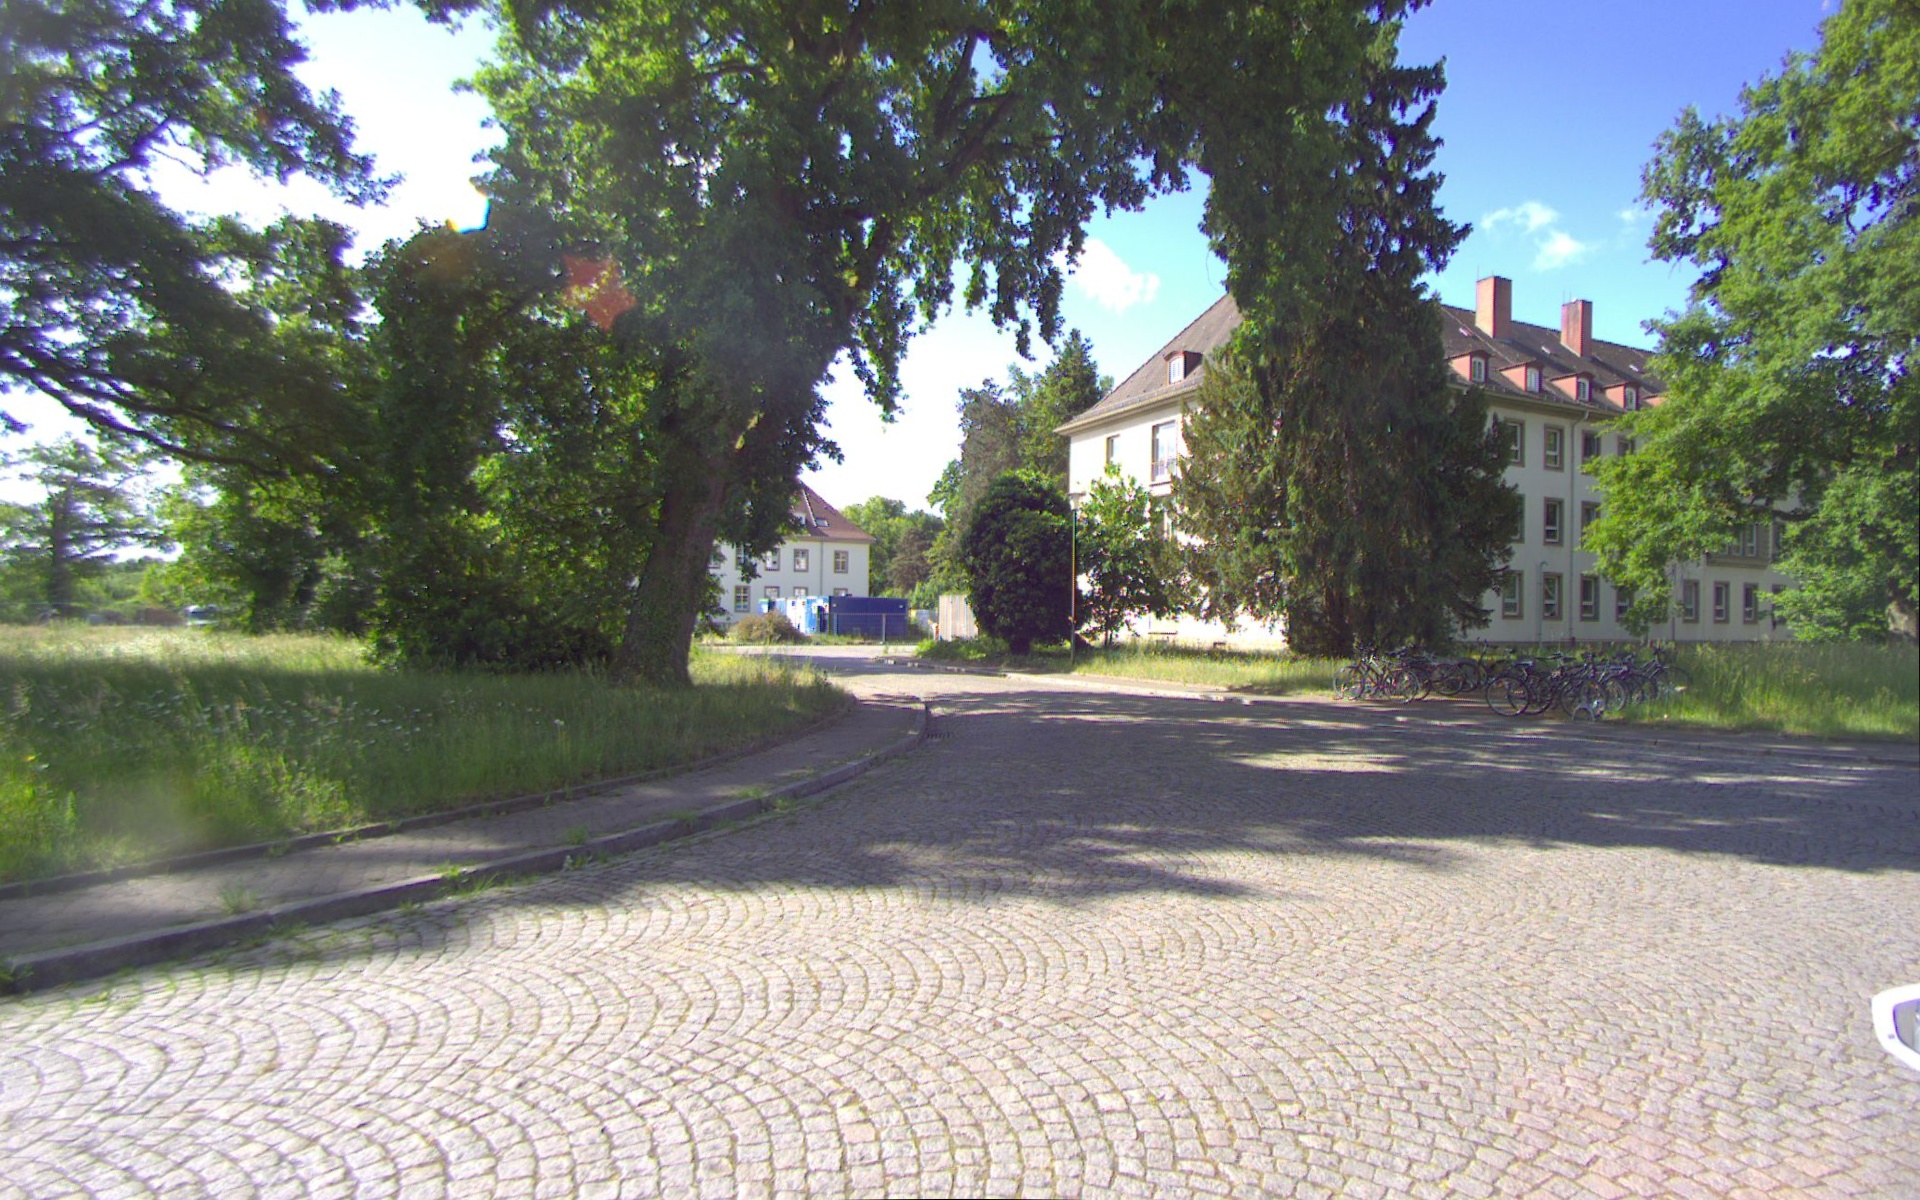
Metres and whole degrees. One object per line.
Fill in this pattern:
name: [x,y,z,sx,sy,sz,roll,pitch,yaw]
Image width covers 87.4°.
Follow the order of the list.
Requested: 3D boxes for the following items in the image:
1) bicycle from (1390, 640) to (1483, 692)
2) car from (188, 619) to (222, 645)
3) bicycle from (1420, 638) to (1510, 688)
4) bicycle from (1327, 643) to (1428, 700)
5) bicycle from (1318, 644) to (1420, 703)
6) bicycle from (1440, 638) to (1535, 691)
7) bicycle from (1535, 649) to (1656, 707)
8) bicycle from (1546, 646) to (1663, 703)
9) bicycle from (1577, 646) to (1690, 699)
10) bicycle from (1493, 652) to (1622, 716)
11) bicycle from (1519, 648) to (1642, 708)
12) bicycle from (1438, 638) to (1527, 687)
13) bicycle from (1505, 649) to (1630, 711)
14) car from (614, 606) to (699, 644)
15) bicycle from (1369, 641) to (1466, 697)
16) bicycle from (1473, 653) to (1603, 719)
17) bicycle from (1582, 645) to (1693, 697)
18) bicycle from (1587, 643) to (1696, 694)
bicycle: [11.081,1.521,23.406,1.888,1.117,0.568,0,0,36]
car: [-57.742,2.432,76.818,1.978,1.879,4.092,2,-2,-38]
bicycle: [12.306,1.518,24.508,0.566,1.117,1.894,-1,0,-44]
bicycle: [8.840,1.494,21.317,1.890,1.117,0.567,-1,0,40]
bicycle: [8.497,1.508,20.902,1.890,1.117,0.567,-1,0,40]
bicycle: [12.266,1.488,23.404,0.566,1.117,1.894,-1,0,-44]
bicycle: [12.188,1.482,19.303,1.892,1.072,0.473,-3,-3,42]
bicycle: [12.770,1.464,19.945,1.893,1.072,0.473,-3,-3,44]
bicycle: [14.139,1.507,21.123,1.893,1.072,0.473,-3,-3,44]
bicycle: [10.437,1.450,17.598,1.888,1.072,0.474,-2,-3,35]
bicycle: [11.571,1.440,18.786,1.892,1.072,0.473,-3,-3,42]
bicycle: [13.047,1.543,25.118,1.891,1.117,0.567,0,0,41]
bicycle: [11.122,1.444,18.436,1.892,1.072,0.473,-3,-3,42]
car: [-20.177,1.669,66.848,5.206,2.469,1.978,1,-1,-26]
bicycle: [10.165,1.512,22.348,1.888,1.117,0.568,0,0,37]
bicycle: [9.955,1.461,17.336,1.888,1.072,0.474,-2,-3,35]
bicycle: [14.471,1.510,21.496,1.893,1.072,0.473,-3,-3,44]
bicycle: [14.786,1.476,21.839,1.893,1.072,0.473,-3,-3,44]
